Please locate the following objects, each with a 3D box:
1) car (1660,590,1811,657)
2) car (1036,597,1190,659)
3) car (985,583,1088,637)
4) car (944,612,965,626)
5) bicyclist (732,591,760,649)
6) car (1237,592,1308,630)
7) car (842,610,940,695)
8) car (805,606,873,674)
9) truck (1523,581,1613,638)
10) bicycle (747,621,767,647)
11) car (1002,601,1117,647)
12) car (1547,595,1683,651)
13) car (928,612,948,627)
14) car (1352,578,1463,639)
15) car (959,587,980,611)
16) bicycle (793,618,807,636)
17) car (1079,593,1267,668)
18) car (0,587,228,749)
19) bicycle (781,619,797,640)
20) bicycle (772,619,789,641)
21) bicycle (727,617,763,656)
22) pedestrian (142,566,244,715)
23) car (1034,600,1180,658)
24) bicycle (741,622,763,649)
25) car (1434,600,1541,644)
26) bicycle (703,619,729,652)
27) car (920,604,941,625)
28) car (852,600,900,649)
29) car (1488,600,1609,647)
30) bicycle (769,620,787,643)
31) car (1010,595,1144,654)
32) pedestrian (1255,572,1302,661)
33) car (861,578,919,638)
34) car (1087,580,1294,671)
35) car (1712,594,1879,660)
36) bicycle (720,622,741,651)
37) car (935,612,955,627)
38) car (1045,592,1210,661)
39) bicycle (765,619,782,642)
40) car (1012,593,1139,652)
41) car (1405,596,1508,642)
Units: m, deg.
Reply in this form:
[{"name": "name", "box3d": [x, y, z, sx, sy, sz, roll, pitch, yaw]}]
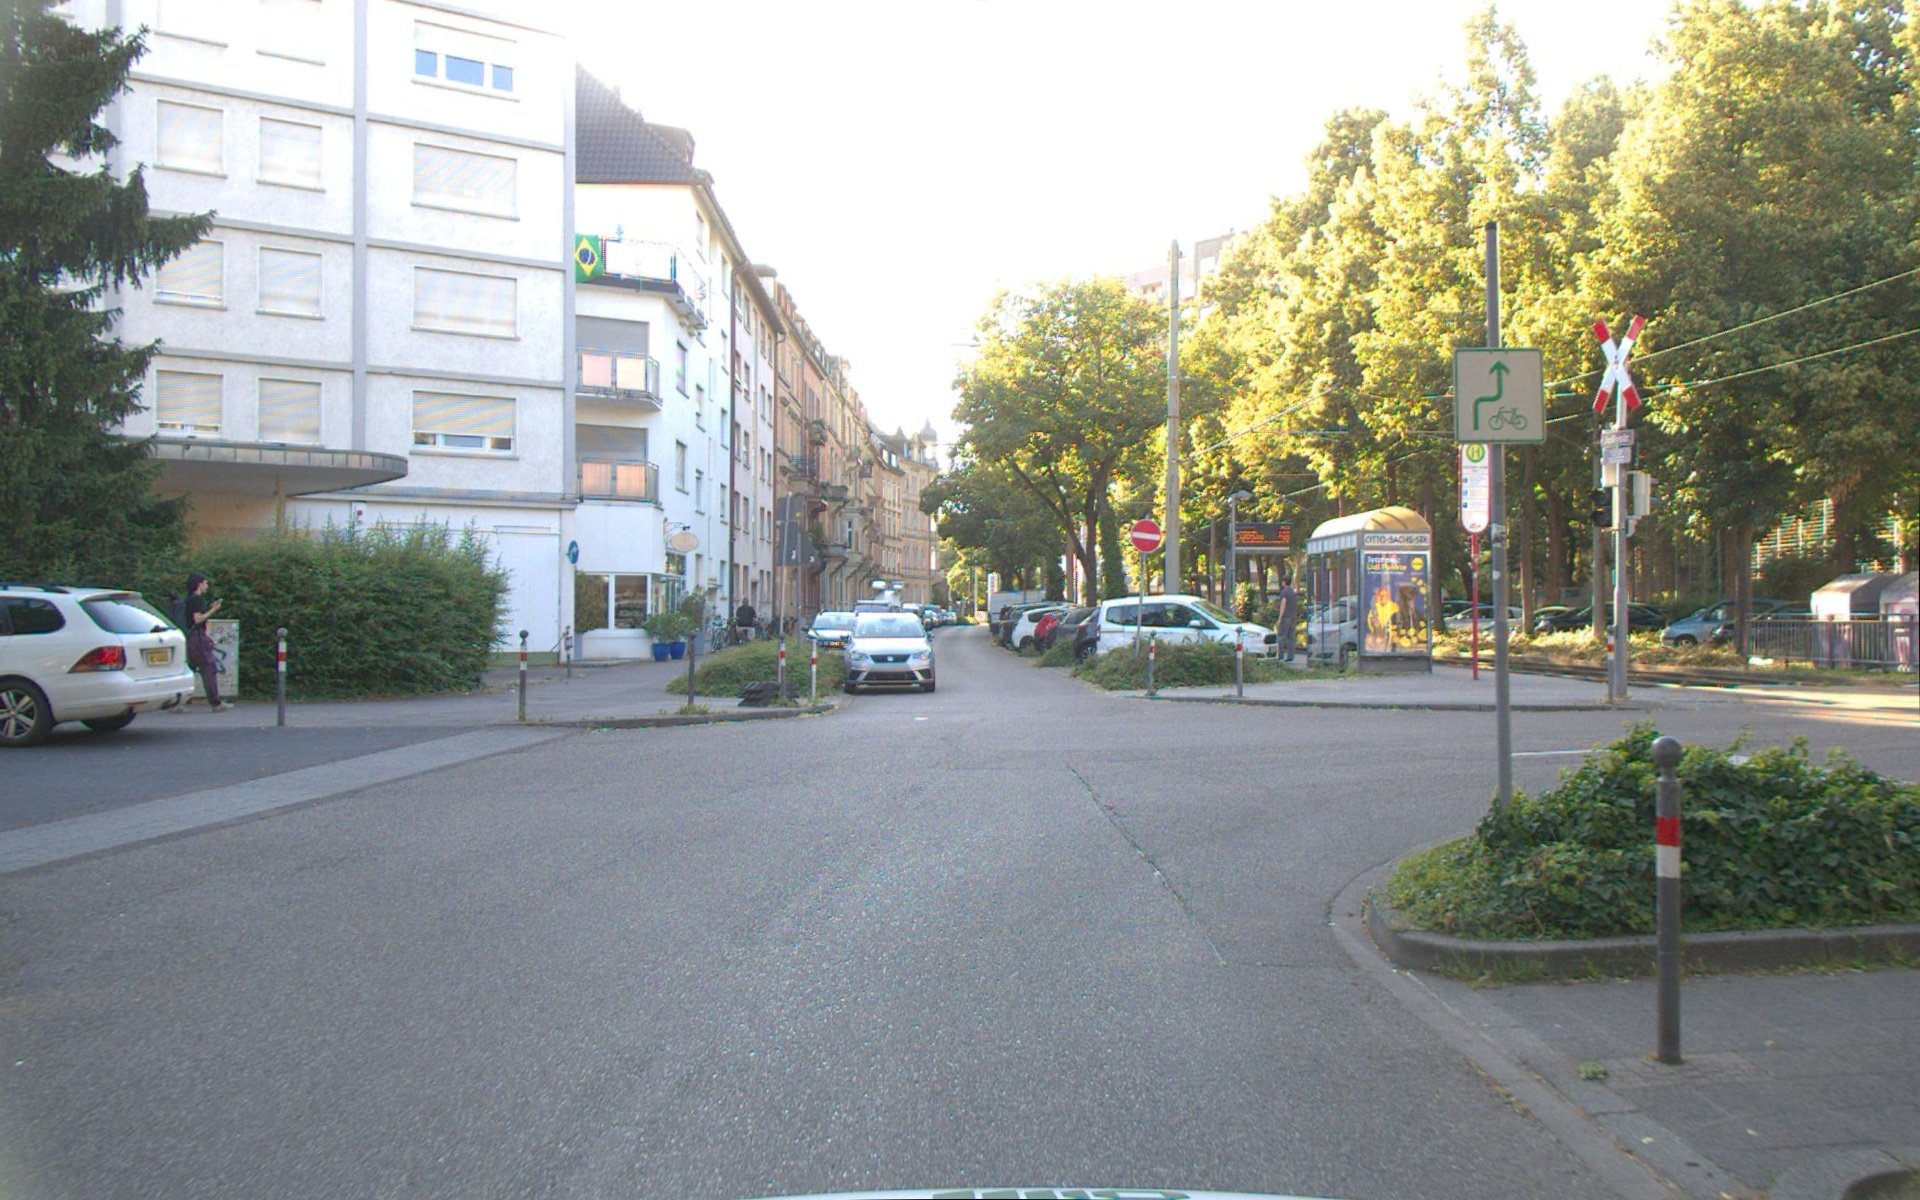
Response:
[{"name": "car", "box3d": [20.527, 0.603, 43.911, 3.535, 1.589, 1.607, 2, 0, 23]}, {"name": "car", "box3d": [4.484, 0.825, 48.518, 4.143, 1.484, 1.607, -5, -1, 24]}, {"name": "car", "box3d": [4.285, 0.555, 92.782, 5.151, 2.616, 2.270, -5, -1, 28]}, {"name": "car", "box3d": [-0.537, 2.028, 177.349, 1.674, 1.471, 4.003, -2, 0, 8]}, {"name": "bicyclist", "box3d": [-6.052, 0.565, 46.819, 0.697, 1.645, 0.723, 0, -1, 0]}, {"name": "car", "box3d": [19.810, 0.696, 104.894, 4.004, 2.249, 1.815, 2, -1, 30]}, {"name": "car", "box3d": [-1.386, 0.965, 31.938, 1.677, 1.471, 3.996, -1, 0, -5]}, {"name": "car", "box3d": [-3.211, 1.043, 44.535, 1.676, 1.702, 3.998, -1, 0, -3]}, {"name": "truck", "box3d": [26.703, 0.417, 72.774, 2.318, 2.393, 4.383, 0, 0, 0]}, {"name": "bicycle", "box3d": [-8.385, 1.392, 68.338, 0.614, 1.021, 2.175, 0, 0, -1]}, {"name": "car", "box3d": [3.962, 0.969, 65.978, 4.146, 1.498, 1.856, -5, -1, 28]}, {"name": "car", "box3d": [19.867, 0.703, 50.308, 3.737, 1.523, 1.738, 2, -1, 19]}, {"name": "car", "box3d": [-2.189, 1.977, 167.042, 1.675, 1.471, 4.002, -2, 0, 4]}, {"name": "car", "box3d": [20.023, 0.375, 74.039, 4.403, 2.519, 1.815, 2, -1, 31]}, {"name": "car", "box3d": [1.096, -0.089, 187.210, 1.674, 2.607, 5.571, -1, 0, 8]}, {"name": "bicycle", "box3d": [-9.022, 1.518, 93.368, 0.614, 1.021, 2.175, 0, 0, -1]}, {"name": "car", "box3d": [5.138, 0.743, 39.915, 4.109, 1.461, 1.700, -5, -1, 24]}, {"name": "car", "box3d": [-9.739, 0.635, 16.281, 4.192, 1.476, 1.924, -1, 1, 2]}, {"name": "bicycle", "box3d": [-8.652, 1.474, 83.801, 0.614, 1.021, 2.175, 0, 0, -1]}, {"name": "bicycle", "box3d": [-8.731, 1.445, 80.592, 0.614, 1.021, 2.175, 0, 0, -1]}, {"name": "bicycle", "box3d": [-6.048, 1.014, 46.636, 0.697, 1.069, 2.347, -1, 0, 0]}, {"name": "pedestrian", "box3d": [-9.380, 0.488, 20.253, 0.811, 1.766, 0.870, 1, -1, -2]}, {"name": "car", "box3d": [4.563, 0.902, 51.341, 4.143, 1.484, 1.607, -5, -1, 24]}, {"name": "bicycle", "box3d": [-8.139, 1.369, 64.805, 0.614, 1.021, 2.175, 0, 0, -1]}, {"name": "car", "box3d": [19.773, 0.824, 62.027, 3.737, 1.446, 1.738, 2, -1, 19]}, {"name": "bicycle", "box3d": [-7.988, 1.159, 54.246, 0.520, 1.021, 2.176, 0, 0, 0]}, {"name": "car", "box3d": [-2.799, 1.374, 157.040, 1.675, 1.852, 4.002, -1, 0, 4]}, {"name": "car", "box3d": [-3.549, 1.023, 70.668, 1.675, 1.966, 4.001, -1, 0, 2]}, {"name": "car", "box3d": [19.843, 0.794, 55.844, 3.737, 1.415, 1.738, 2, -1, 19]}, {"name": "bicycle", "box3d": [-8.268, 1.432, 75.218, 0.614, 1.021, 2.175, 0, 0, -1]}, {"name": "car", "box3d": [3.993, 0.842, 56.807, 4.156, 1.680, 1.851, -5, -1, 36]}, {"name": "pedestrian", "box3d": [7.060, 0.356, 36.657, 0.831, 1.944, 0.837, -1, -1, 25]}, {"name": "car", "box3d": [-3.610, 0.400, 86.072, 2.499, 2.938, 5.482, -1, 0, 2]}, {"name": "car", "box3d": [5.059, 0.582, 36.504, 4.149, 1.681, 1.604, -5, -1, 31]}, {"name": "car", "box3d": [20.597, 0.647, 40.923, 3.534, 1.472, 1.607, 2, 0, 23]}, {"name": "bicycle", "box3d": [-8.441, 1.335, 60.828, 0.520, 1.021, 2.175, 0, 0, -1]}, {"name": "car", "box3d": [-1.564, 2.063, 172.441, 1.674, 1.471, 4.003, -2, 0, 6]}, {"name": "car", "box3d": [4.583, 0.729, 45.355, 4.143, 1.534, 1.607, -5, -1, 24]}, {"name": "bicycle", "box3d": [-8.809, 1.434, 78.194, 0.614, 1.021, 2.175, 0, 0, -1]}, {"name": "car", "box3d": [4.160, 0.825, 59.761, 4.156, 1.779, 1.851, -5, -1, 36]}, {"name": "car", "box3d": [19.457, 0.744, 64.813, 3.737, 1.615, 1.738, 2, -1, 19]}]
